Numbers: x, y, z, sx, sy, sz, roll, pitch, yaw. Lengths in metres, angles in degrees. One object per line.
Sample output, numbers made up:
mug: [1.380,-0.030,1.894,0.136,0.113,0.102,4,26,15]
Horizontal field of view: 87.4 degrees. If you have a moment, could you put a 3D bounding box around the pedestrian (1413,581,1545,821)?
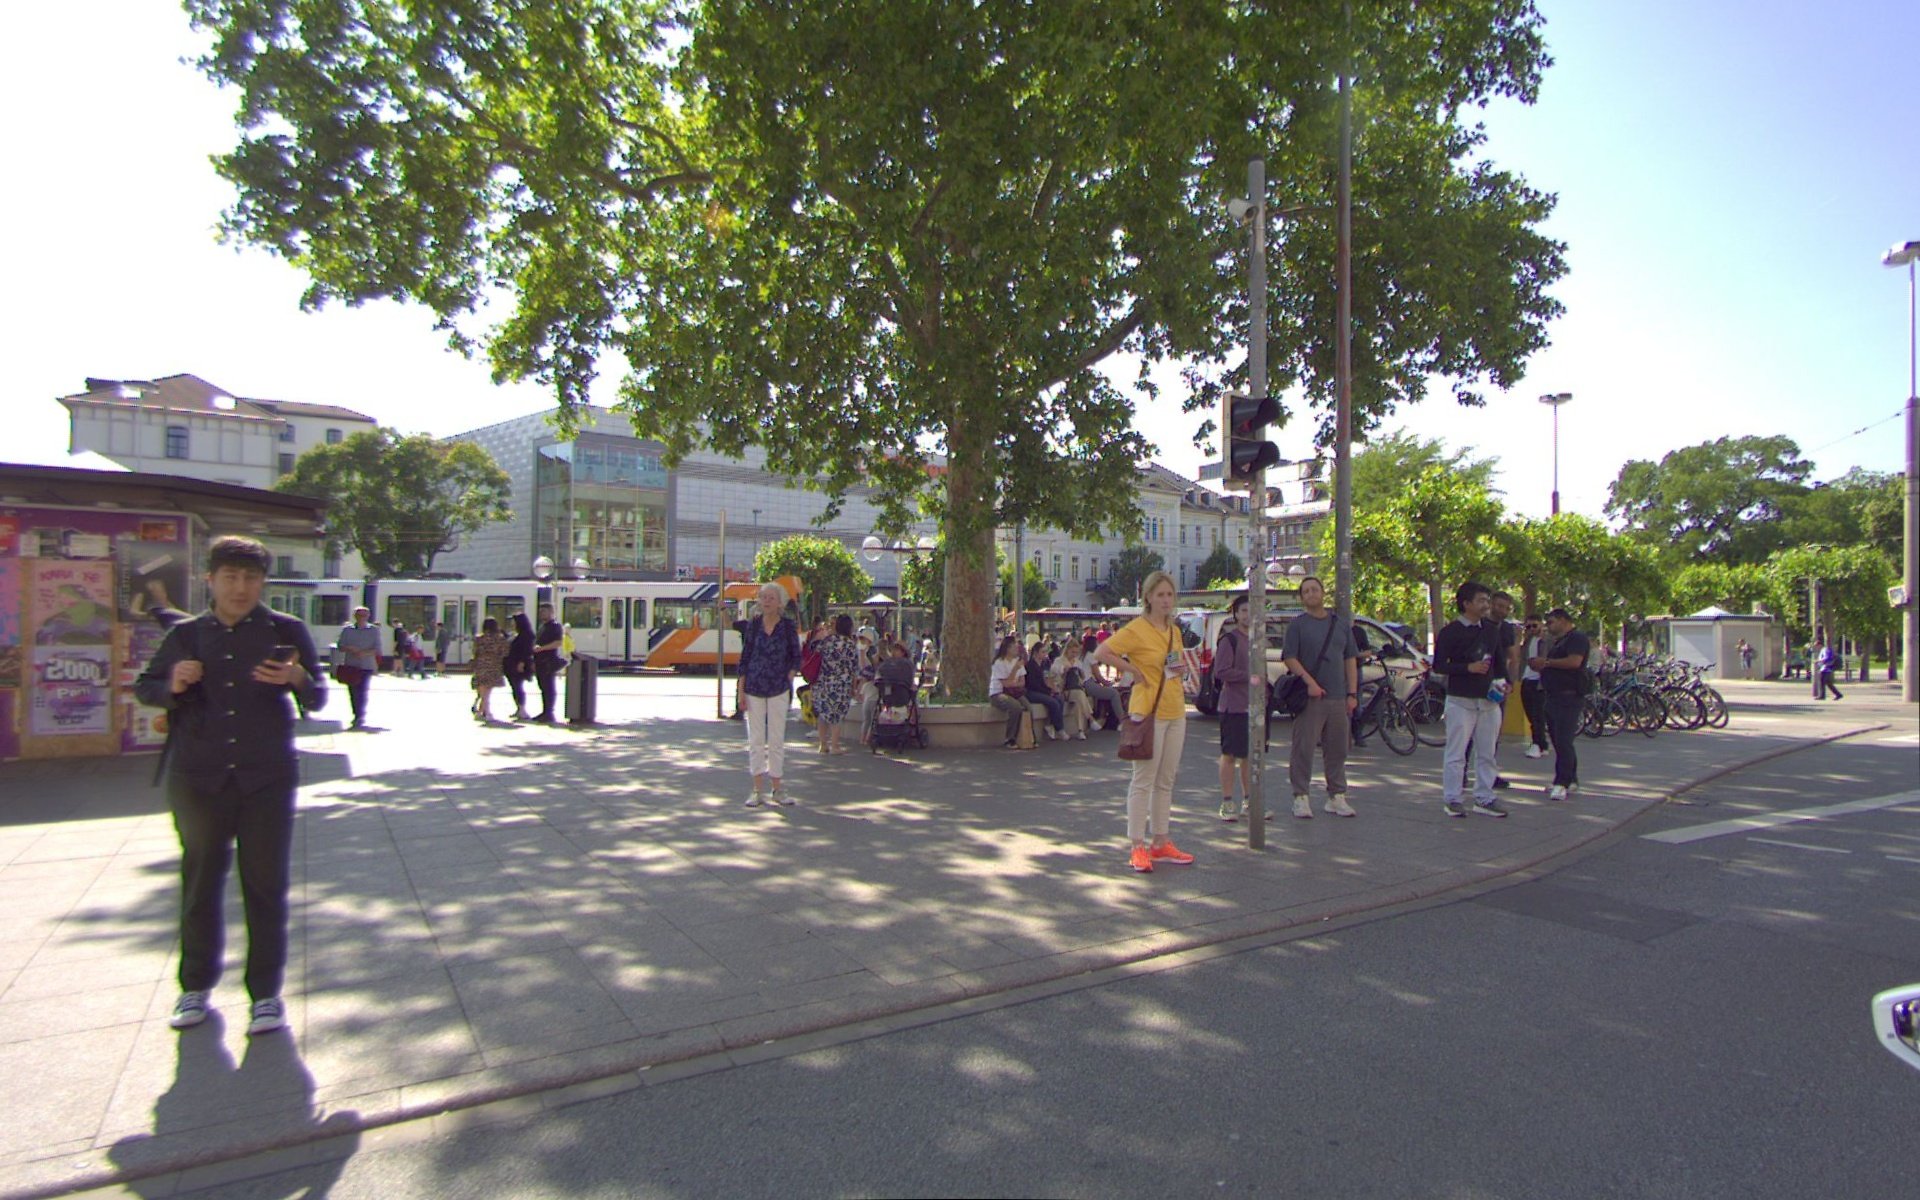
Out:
pedestrian: [4.090,0.773,7.949,0.728,1.807,0.538,2,0,4]

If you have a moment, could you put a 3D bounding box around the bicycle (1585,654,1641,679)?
bicycle: [26.623,2.703,40.966,0.543,0.867,1.847,2,0,-43]

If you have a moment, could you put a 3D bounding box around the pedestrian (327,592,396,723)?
pedestrian: [-8.435,0.793,14.150,0.774,1.770,0.745,2,0,-32]

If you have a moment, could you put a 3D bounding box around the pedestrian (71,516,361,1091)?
pedestrian: [-2.634,0.631,3.656,0.725,1.770,0.869,2,0,-32]

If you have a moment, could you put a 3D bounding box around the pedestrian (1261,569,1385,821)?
pedestrian: [2.862,0.726,7.942,0.730,1.870,0.590,2,-3,-32]

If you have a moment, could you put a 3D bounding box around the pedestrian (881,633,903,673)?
pedestrian: [-2.561,1.990,37.740,0.615,1.484,0.551,-4,-4,36]

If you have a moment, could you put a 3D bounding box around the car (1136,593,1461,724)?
car: [5.797,0.985,17.470,4.976,2.040,1.996,2,0,-10]

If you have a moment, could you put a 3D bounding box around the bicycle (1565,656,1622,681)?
bicycle: [25.630,2.762,40.681,0.579,0.883,1.847,2,0,-43]

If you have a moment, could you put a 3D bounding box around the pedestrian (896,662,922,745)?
pedestrian: [-0.631,1.276,12.427,0.276,0.980,0.340,2,0,0]

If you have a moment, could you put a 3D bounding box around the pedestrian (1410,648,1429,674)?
pedestrian: [28.984,3.847,63.356,0.671,1.484,0.621,5,5,-24]

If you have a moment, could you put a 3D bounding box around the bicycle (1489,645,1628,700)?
bicycle: [13.399,1.589,22.596,0.822,1.036,2.605,2,0,-30]

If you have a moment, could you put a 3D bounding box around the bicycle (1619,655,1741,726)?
bicycle: [12.958,1.598,18.124,0.477,1.162,1.743,2,-2,-32]

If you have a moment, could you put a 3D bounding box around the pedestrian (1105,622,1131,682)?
pedestrian: [4.765,1.566,30.296,0.480,1.800,0.522,1,-4,-32]

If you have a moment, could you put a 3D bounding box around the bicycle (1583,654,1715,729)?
bicycle: [11.792,1.542,17.253,0.477,1.162,1.850,2,-2,-32]

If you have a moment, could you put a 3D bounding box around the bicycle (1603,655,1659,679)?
bicycle: [27.783,2.759,41.611,0.543,0.867,1.847,2,0,-43]

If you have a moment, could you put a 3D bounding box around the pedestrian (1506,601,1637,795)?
pedestrian: [5.491,0.853,9.050,0.738,1.670,0.631,2,0,-5]

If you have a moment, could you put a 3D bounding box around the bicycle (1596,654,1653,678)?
bicycle: [27.309,2.714,41.290,0.543,0.867,1.847,2,0,-43]

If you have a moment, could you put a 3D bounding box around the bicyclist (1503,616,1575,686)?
bicyclist: [13.210,1.148,22.935,0.822,1.518,1.151,2,0,-30]

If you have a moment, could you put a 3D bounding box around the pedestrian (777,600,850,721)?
pedestrian: [-2.235,0.901,15.317,0.777,1.770,0.743,2,0,-41]

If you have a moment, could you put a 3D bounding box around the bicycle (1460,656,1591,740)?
bicycle: [8.642,1.467,15.407,0.477,1.162,1.743,2,-2,-32]

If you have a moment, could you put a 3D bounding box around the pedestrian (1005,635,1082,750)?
pedestrian: [1.107,1.196,13.324,0.668,1.443,0.743,2,0,-41]

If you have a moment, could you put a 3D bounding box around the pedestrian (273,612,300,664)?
pedestrian: [-19.733,1.104,29.447,0.524,1.492,0.552,2,0,-23]

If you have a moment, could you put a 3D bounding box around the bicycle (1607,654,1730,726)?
bicycle: [12.549,1.563,17.834,0.477,1.162,1.743,2,-2,-32]

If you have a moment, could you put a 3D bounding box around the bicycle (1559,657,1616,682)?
bicycle: [25.180,2.772,40.306,0.543,0.867,1.847,2,0,-43]

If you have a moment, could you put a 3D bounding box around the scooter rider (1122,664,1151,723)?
scooter rider: [2.689,1.421,15.330,0.342,0.850,0.507,2,0,3]

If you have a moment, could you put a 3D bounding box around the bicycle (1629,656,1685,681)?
bicycle: [29.274,2.865,42.197,0.578,0.881,1.847,2,0,-43]

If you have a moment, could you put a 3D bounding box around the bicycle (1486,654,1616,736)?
bicycle: [9.226,1.458,15.741,0.477,1.162,1.743,2,-2,-32]

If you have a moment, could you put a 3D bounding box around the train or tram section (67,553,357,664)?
train or tram section: [-28.744,0.310,38.820,9.328,3.878,2.623,2,0,3]

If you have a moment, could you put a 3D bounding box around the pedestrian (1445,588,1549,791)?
pedestrian: [5.124,0.829,9.598,0.705,1.860,0.515,2,0,-23]

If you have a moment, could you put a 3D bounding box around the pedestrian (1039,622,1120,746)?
pedestrian: [1.637,1.126,13.820,0.777,1.618,0.743,2,0,-41]

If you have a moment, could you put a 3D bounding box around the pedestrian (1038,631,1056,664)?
pedestrian: [4.013,2.208,46.502,0.615,1.484,0.551,-4,-4,37]

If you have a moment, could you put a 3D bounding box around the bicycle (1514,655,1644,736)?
bicycle: [9.803,1.484,15.973,0.477,1.162,1.743,2,-2,-32]

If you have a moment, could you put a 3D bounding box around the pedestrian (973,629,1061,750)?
pedestrian: [0.715,1.092,12.604,0.777,1.426,0.743,2,0,-41]

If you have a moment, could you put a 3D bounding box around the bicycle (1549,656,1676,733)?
bicycle: [10.856,1.540,16.773,0.477,1.162,1.743,2,-2,-32]

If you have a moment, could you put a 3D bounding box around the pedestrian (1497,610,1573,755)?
pedestrian: [7.128,0.998,12.451,0.638,1.714,0.635,2,0,-44]

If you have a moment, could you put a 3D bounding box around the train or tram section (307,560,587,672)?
train or tram section: [-19.453,0.589,38.388,9.328,3.878,2.623,2,0,3]

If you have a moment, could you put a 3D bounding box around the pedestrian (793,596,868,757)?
pedestrian: [-1.471,0.854,11.539,0.768,1.770,0.751,2,0,-4]

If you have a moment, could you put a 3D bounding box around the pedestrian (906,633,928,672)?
pedestrian: [-1.769,2.162,41.373,0.569,1.569,0.678,-3,-4,35]

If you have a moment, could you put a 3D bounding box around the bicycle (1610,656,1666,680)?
bicycle: [28.264,2.833,41.899,0.578,0.881,1.847,2,0,-43]

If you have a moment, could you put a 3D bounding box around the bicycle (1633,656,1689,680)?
bicycle: [29.721,2.881,42.606,0.578,0.881,1.847,2,0,-43]

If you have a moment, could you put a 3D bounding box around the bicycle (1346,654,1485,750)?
bicycle: [6.138,1.340,13.616,0.477,1.162,1.743,2,-2,-32]

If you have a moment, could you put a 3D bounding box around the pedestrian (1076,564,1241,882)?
pedestrian: [1.195,0.698,6.061,0.744,1.770,0.607,2,-1,-32]

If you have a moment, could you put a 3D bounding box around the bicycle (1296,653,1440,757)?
bicycle: [5.117,1.284,12.706,0.477,1.162,1.743,2,-2,-32]

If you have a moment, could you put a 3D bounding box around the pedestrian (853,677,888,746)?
pedestrian: [-1.116,1.386,12.566,0.319,0.826,0.266,2,0,-44]

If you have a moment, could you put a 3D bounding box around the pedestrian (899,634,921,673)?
pedestrian: [-2.016,2.150,40.425,0.569,1.569,0.678,-3,-4,35]

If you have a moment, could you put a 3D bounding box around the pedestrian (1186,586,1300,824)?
pedestrian: [2.178,0.779,7.749,0.600,1.737,0.600,2,-2,-32]

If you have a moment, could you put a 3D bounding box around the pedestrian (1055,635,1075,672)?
pedestrian: [4.308,2.192,41.231,0.615,1.484,0.551,-4,-4,37]

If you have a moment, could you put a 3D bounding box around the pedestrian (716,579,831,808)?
pedestrian: [-1.537,0.727,8.236,0.659,1.770,0.745,2,0,-32]

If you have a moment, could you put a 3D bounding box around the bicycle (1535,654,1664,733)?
bicycle: [10.403,1.497,16.403,0.477,1.162,1.743,2,-2,-32]

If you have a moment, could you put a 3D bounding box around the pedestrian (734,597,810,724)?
pedestrian: [-2.734,0.864,14.622,0.777,1.770,0.743,2,0,-41]

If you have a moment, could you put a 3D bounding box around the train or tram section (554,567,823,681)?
train or tram section: [-10.124,0.870,37.963,9.328,3.878,2.623,2,0,3]
